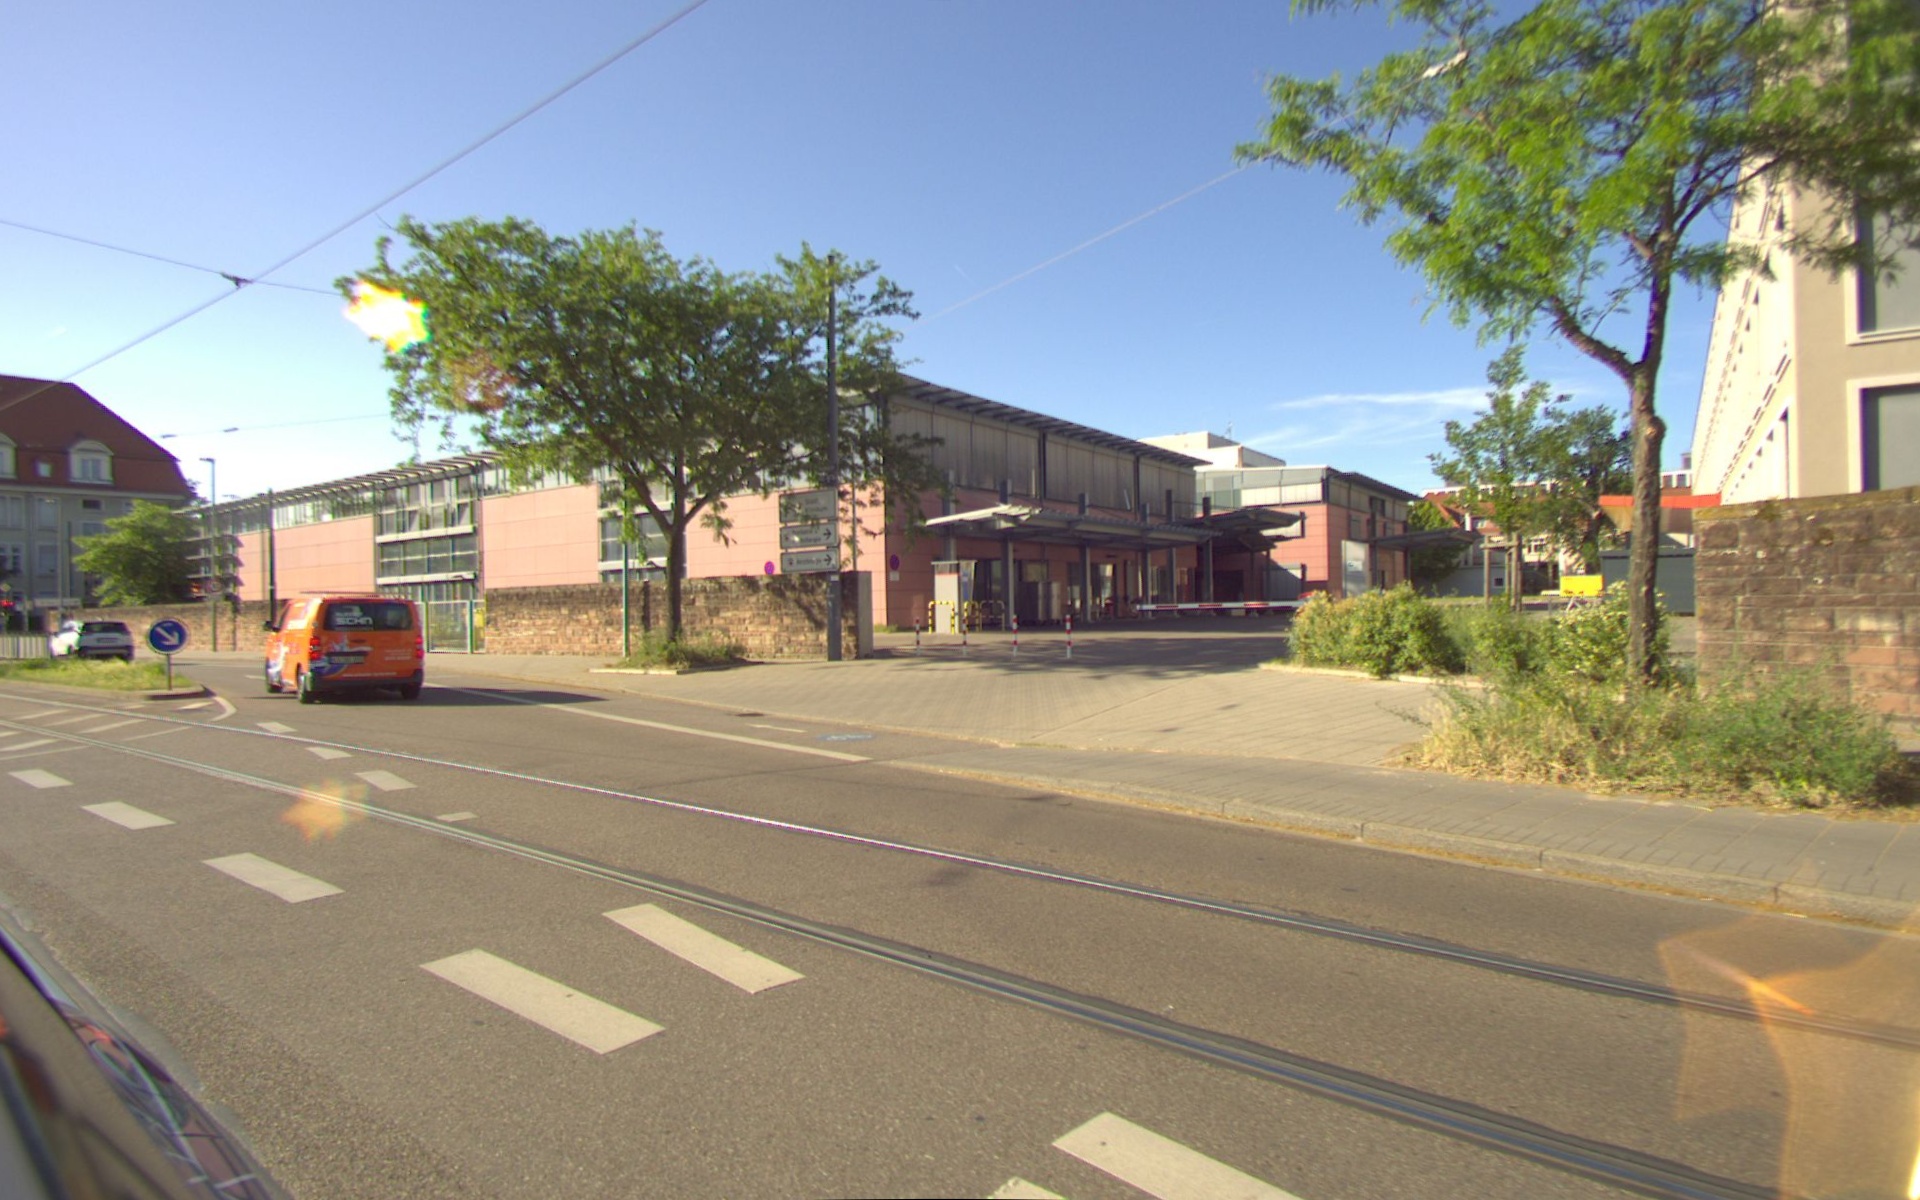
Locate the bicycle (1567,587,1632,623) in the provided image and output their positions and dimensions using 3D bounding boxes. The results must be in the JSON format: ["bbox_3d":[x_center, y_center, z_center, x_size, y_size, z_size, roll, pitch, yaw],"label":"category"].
[{"bbox_3d":[19.930,0.166,31.554,1.682,1.069,0.456,-2,1,34],"label":"bicycle"}]

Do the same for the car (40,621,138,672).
[{"bbox_3d":[-30.484,1.600,35.386,4.202,1.676,1.749,-2,-1,37],"label":"car"}]

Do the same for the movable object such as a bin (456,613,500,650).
[{"bbox_3d":[-17.164,1.110,36.052,1.306,1.295,0.873,-2,-1,34],"label":"movable object such as a bin"}]

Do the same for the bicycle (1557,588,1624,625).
[{"bbox_3d":[19.245,0.208,30.896,1.683,1.069,0.456,-2,-1,35],"label":"bicycle"}]

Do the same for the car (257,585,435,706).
[{"bbox_3d":[-11.669,0.787,19.067,1.969,1.980,4.940,-1,-1,-42],"label":"car"}]

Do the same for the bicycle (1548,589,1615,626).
[{"bbox_3d":[18.654,0.220,30.398,1.695,1.069,0.456,-2,-1,32],"label":"bicycle"}]
